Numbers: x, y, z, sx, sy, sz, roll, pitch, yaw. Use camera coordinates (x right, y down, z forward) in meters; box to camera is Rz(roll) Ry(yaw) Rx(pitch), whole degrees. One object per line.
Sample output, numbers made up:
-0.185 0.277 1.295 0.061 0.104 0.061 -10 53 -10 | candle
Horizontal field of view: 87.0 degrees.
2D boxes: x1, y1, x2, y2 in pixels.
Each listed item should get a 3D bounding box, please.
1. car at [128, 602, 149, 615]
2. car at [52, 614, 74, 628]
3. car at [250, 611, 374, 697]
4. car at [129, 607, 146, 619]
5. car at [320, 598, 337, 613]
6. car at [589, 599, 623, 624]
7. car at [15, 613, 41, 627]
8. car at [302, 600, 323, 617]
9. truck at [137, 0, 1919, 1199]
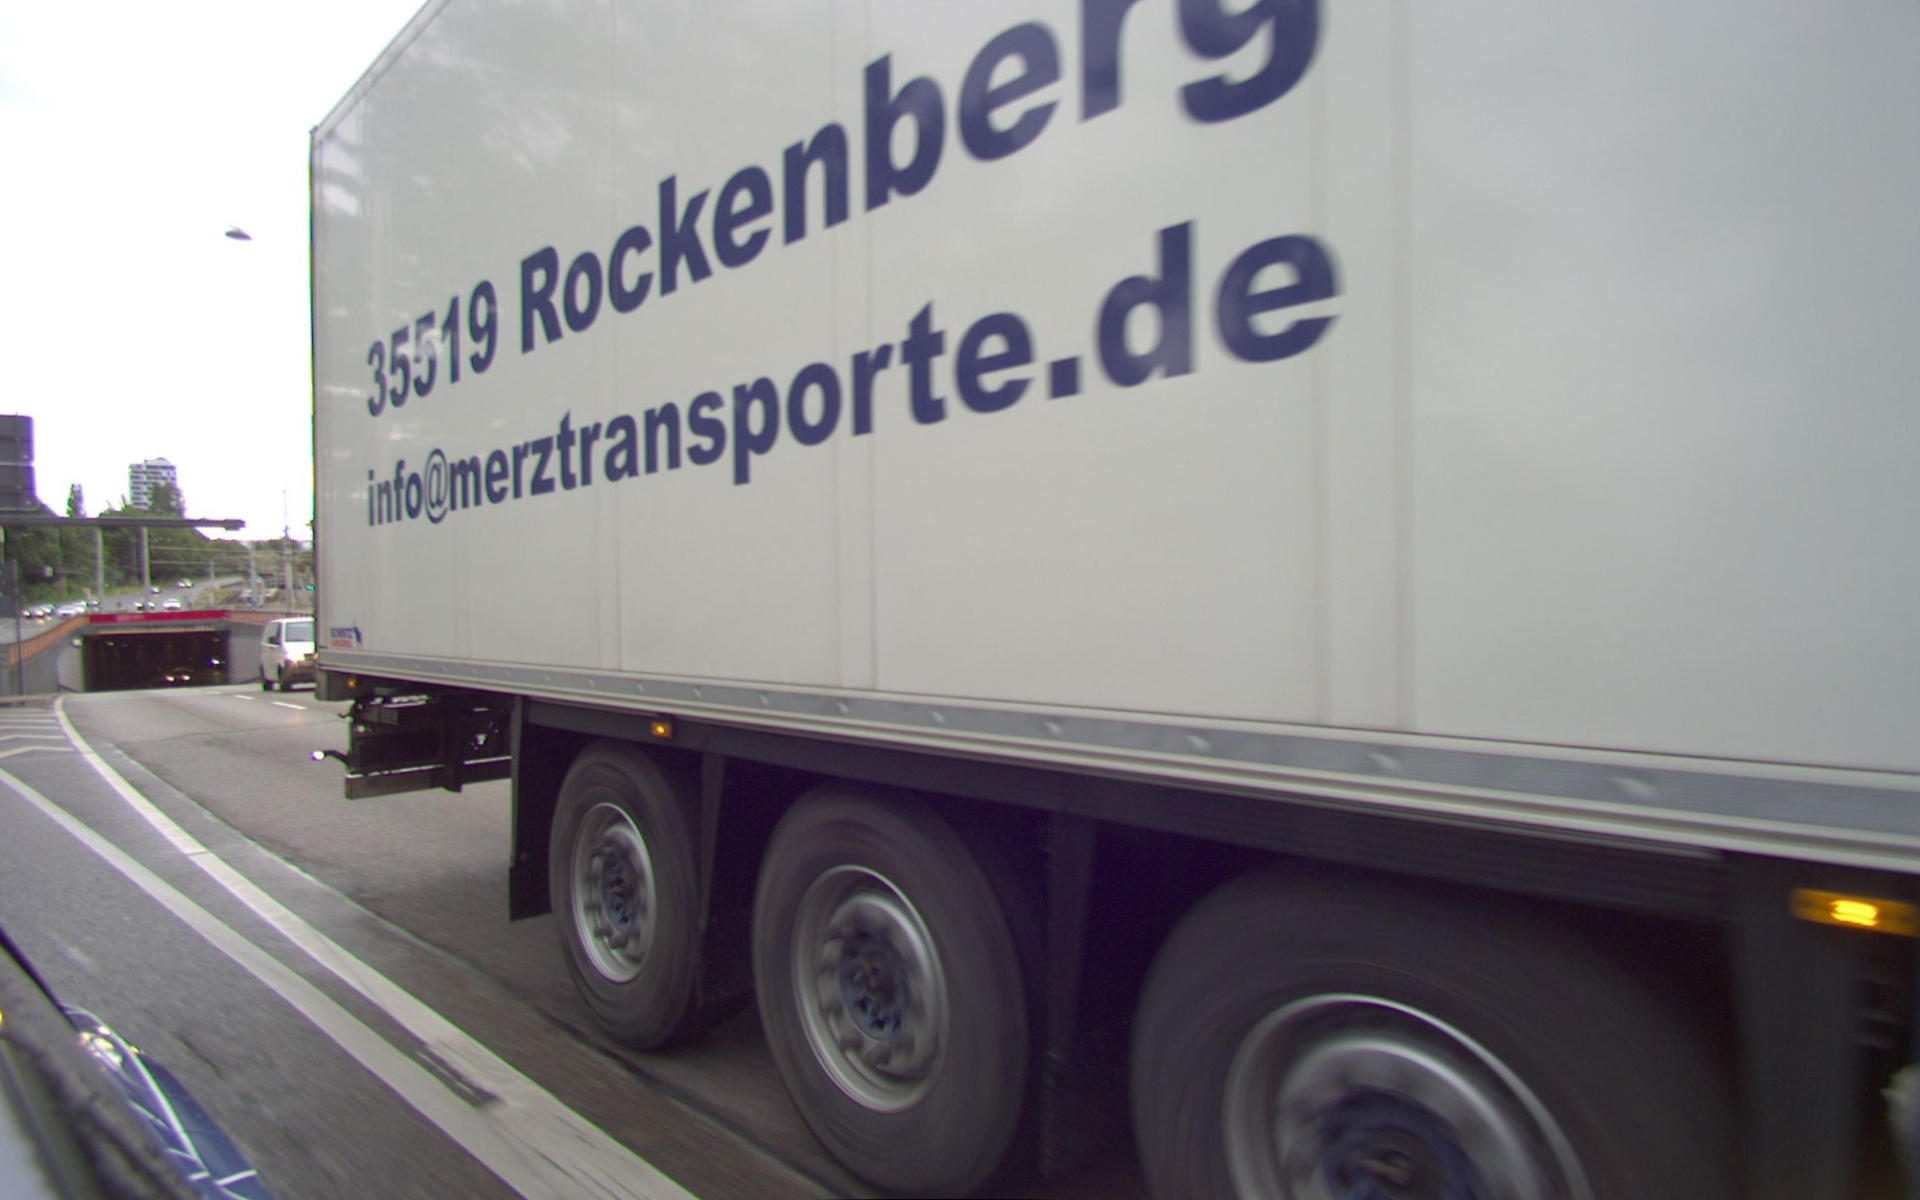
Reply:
-118.718 1.269 146.298 1.710 1.599 4.013 -2 3 -30 | car
-107.873 2.564 121.722 1.774 1.523 4.007 -3 0 -39 | car
-17.676 1.506 27.506 1.970 2.042 4.690 -2 -2 -43 | car
-119.106 1.849 146.604 1.774 1.482 4.008 -3 3 -38 | car
-96.564 0.874 154.760 1.967 2.028 4.011 -2 4 -34 | car
-33.434 1.087 95.606 1.967 2.028 4.215 -2 4 -34 | car
-111.736 2.405 121.397 1.860 1.482 4.017 -3 0 -37 | car
-94.340 1.226 147.382 1.965 2.028 4.014 -2 4 -24 | car
1.552 -0.673 1.995 13.023 4.229 2.733 -1 0 41 | truck
